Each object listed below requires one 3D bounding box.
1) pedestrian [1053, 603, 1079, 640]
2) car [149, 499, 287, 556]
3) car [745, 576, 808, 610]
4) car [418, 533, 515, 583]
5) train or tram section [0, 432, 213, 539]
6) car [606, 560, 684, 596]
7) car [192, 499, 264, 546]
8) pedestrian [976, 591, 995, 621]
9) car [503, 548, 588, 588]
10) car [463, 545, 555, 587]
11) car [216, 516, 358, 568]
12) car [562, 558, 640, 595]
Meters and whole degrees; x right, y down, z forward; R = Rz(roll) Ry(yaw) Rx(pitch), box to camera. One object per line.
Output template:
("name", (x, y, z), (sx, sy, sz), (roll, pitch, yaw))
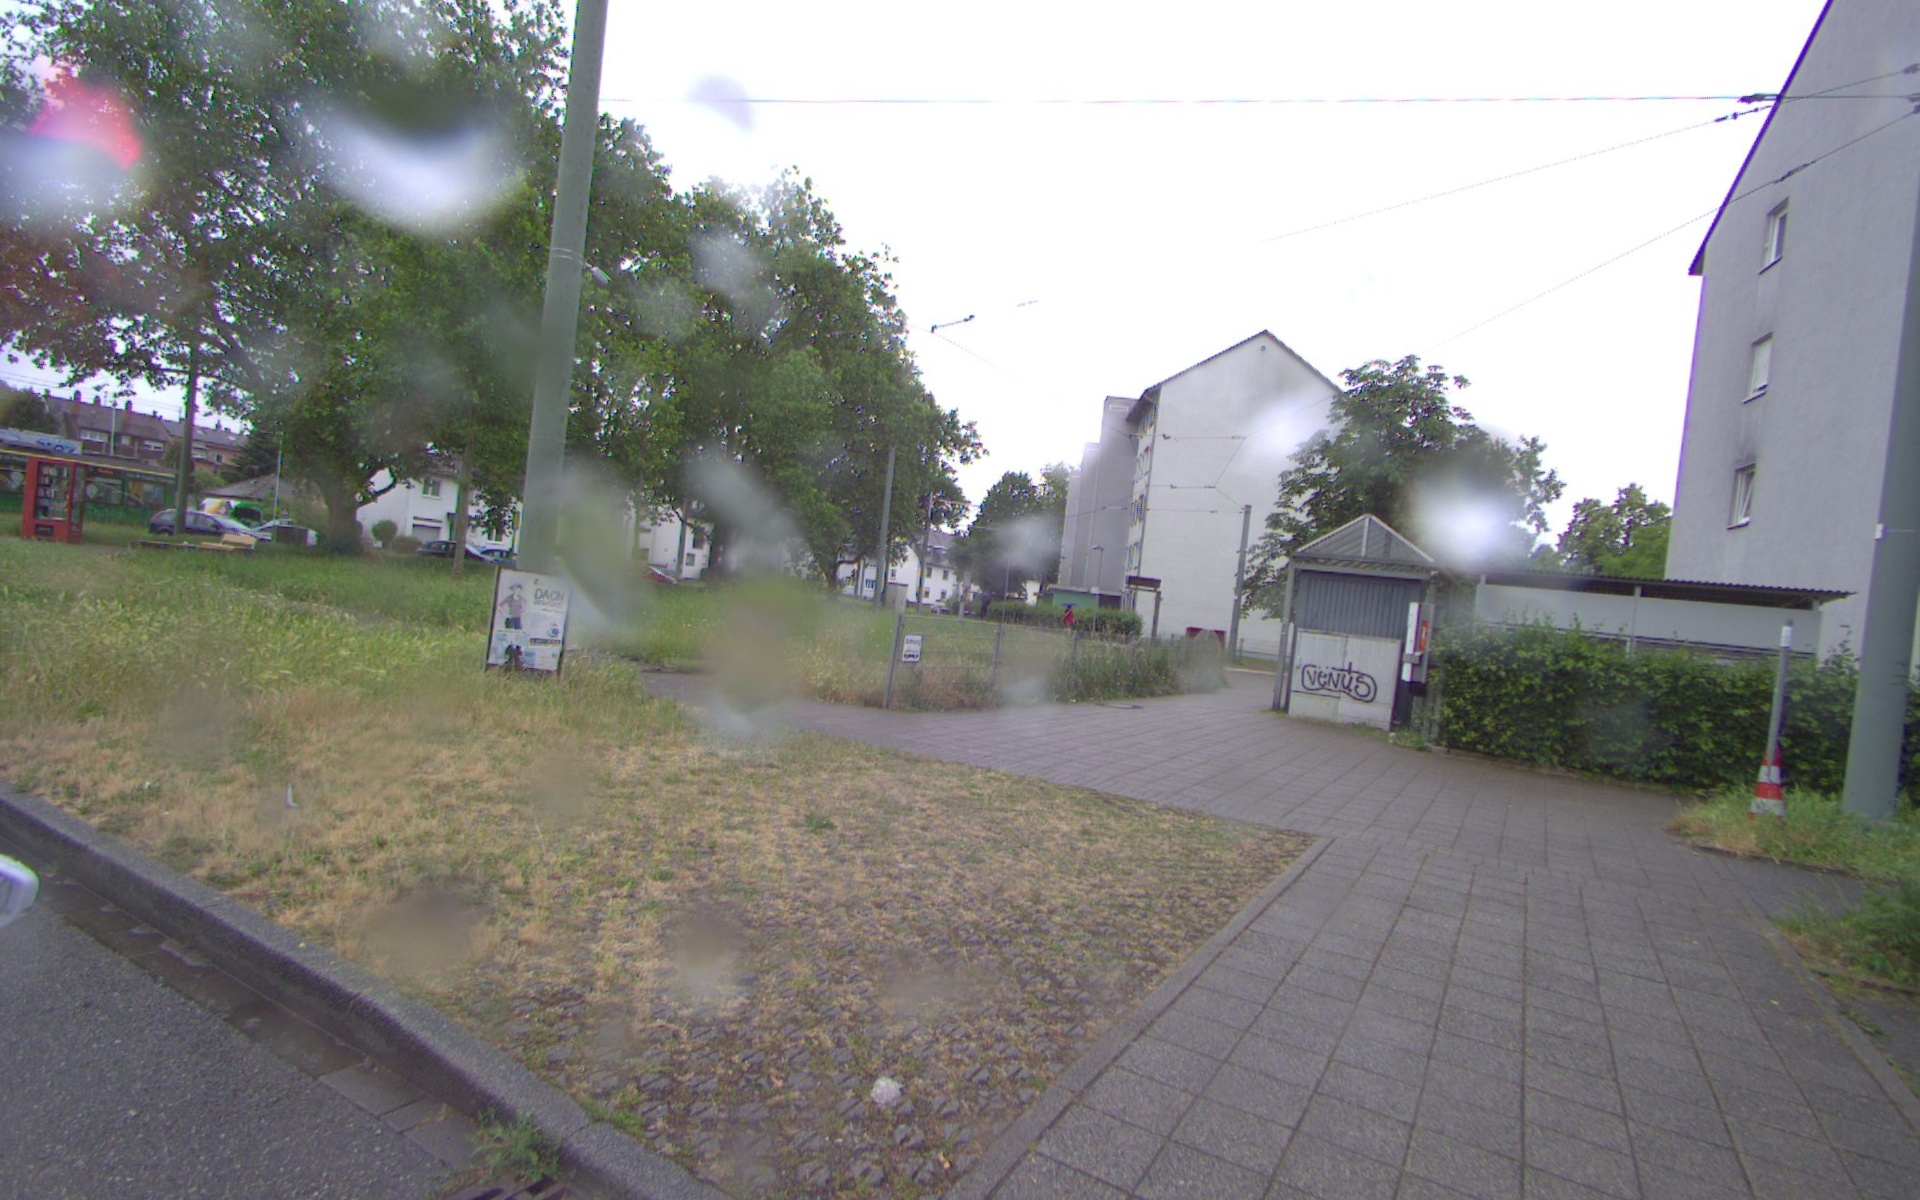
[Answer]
("pedestrian", (5.163, 1.032, 48.924), (0.878, 1.674, 0.816), (7, -1, -10))
("car", (-29.179, -2.832, 39.699), (3.855, 1.512, 1.806), (8, -2, -15))
("car", (-12.749, -0.490, 70.108), (3.843, 1.785, 1.812), (7, -2, 0))
("car", (-23.739, -1.980, 48.535), (3.710, 1.819, 1.806), (8, -2, -15))
("train or tram section", (-40.735, -5.269, 44.246), (2.718, 3.597, 13.130), (7, 0, 20))
("car", (-18.636, -1.273, 59.595), (3.842, 1.513, 1.812), (7, -2, 3))
("car", (-46.757, -4.961, 64.275), (4.281, 2.471, 1.998), (6, -2, 31))
("pedestrian", (1.683, 0.407, 67.635), (1.022, 1.811, 0.818), (7, -1, -3))
("car", (-21.987, -1.666, 53.505), (3.855, 1.512, 1.806), (8, -2, -15))
("car", (-22.811, -1.685, 51.069), (3.855, 1.512, 1.806), (8, -2, -15))
("car", (-25.170, -2.148, 37.716), (1.819, 1.300, 3.987), (6, -3, 39))
("car", (-20.119, -1.299, 56.538), (3.855, 1.512, 1.806), (8, -2, -15))
